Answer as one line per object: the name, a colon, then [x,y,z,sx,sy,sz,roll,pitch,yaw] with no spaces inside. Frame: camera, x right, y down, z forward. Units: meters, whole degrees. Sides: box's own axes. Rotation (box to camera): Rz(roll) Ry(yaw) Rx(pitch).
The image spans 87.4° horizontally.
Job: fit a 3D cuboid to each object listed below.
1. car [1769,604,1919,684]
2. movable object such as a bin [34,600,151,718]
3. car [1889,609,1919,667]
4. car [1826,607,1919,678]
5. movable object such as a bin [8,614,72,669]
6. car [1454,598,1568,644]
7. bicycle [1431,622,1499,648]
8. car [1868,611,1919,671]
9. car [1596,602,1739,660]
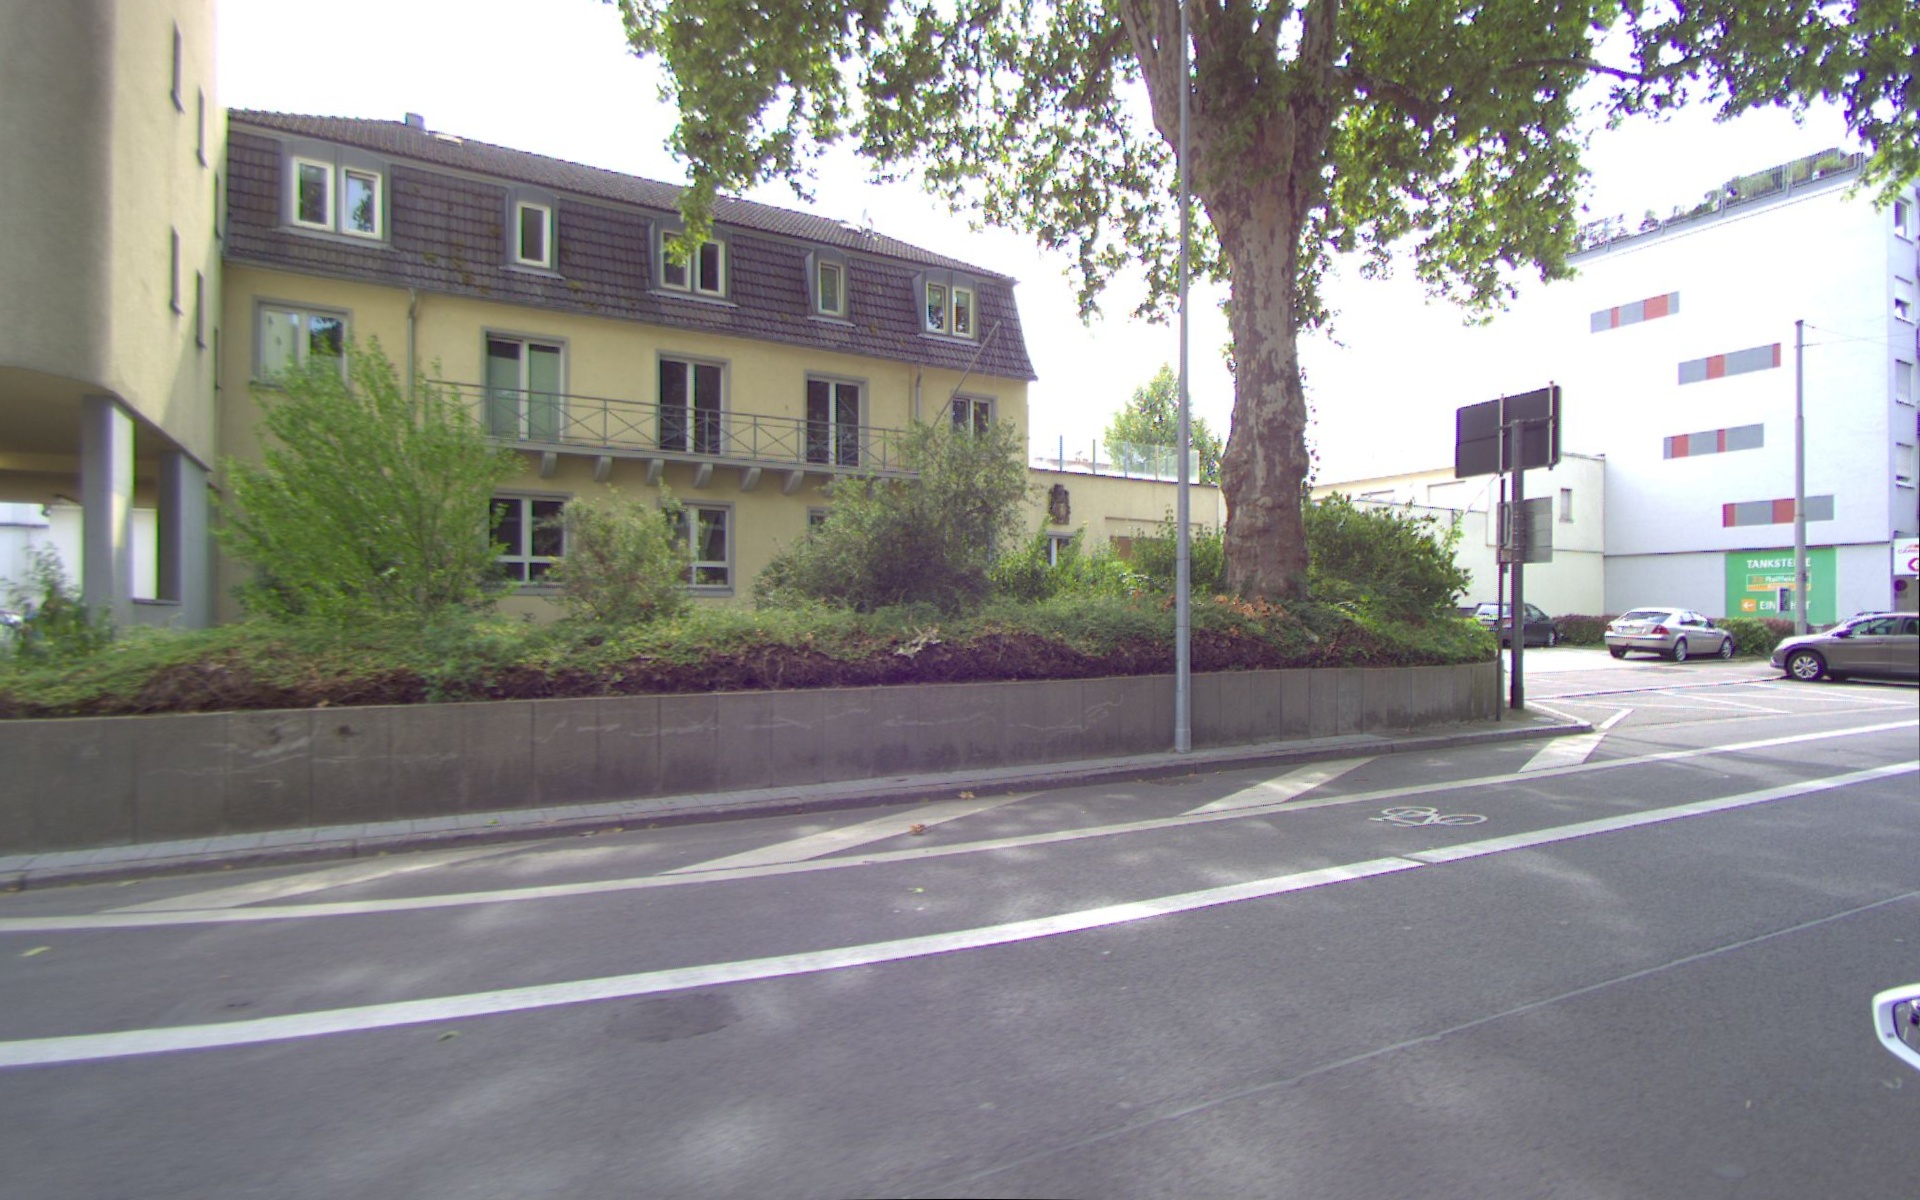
car: [21.152,0.957,22.564,1.943,1.627,4.238,-1,1,-28]
movable object such as a bin: [-12.092,0.794,14.056,1.054,1.561,1.136,0,-1,-32]
car: [26.788,1.062,25.999,1.733,1.505,3.664,0,2,-30]
car: [23.206,1.026,23.618,1.730,1.591,3.926,0,1,-27]
movable object such as a bin: [-25.074,1.122,27.395,1.054,1.468,1.137,0,-1,-30]
car: [18.366,0.652,33.432,3.960,1.350,1.800,-1,2,-35]
bicycle: [15.996,1.094,31.870,0.484,0.752,1.973,0,0,-31]
car: [25.130,1.067,24.800,1.732,1.446,3.664,0,2,-30]
car: [20.373,0.847,28.902,4.183,1.539,1.749,0,1,-30]
